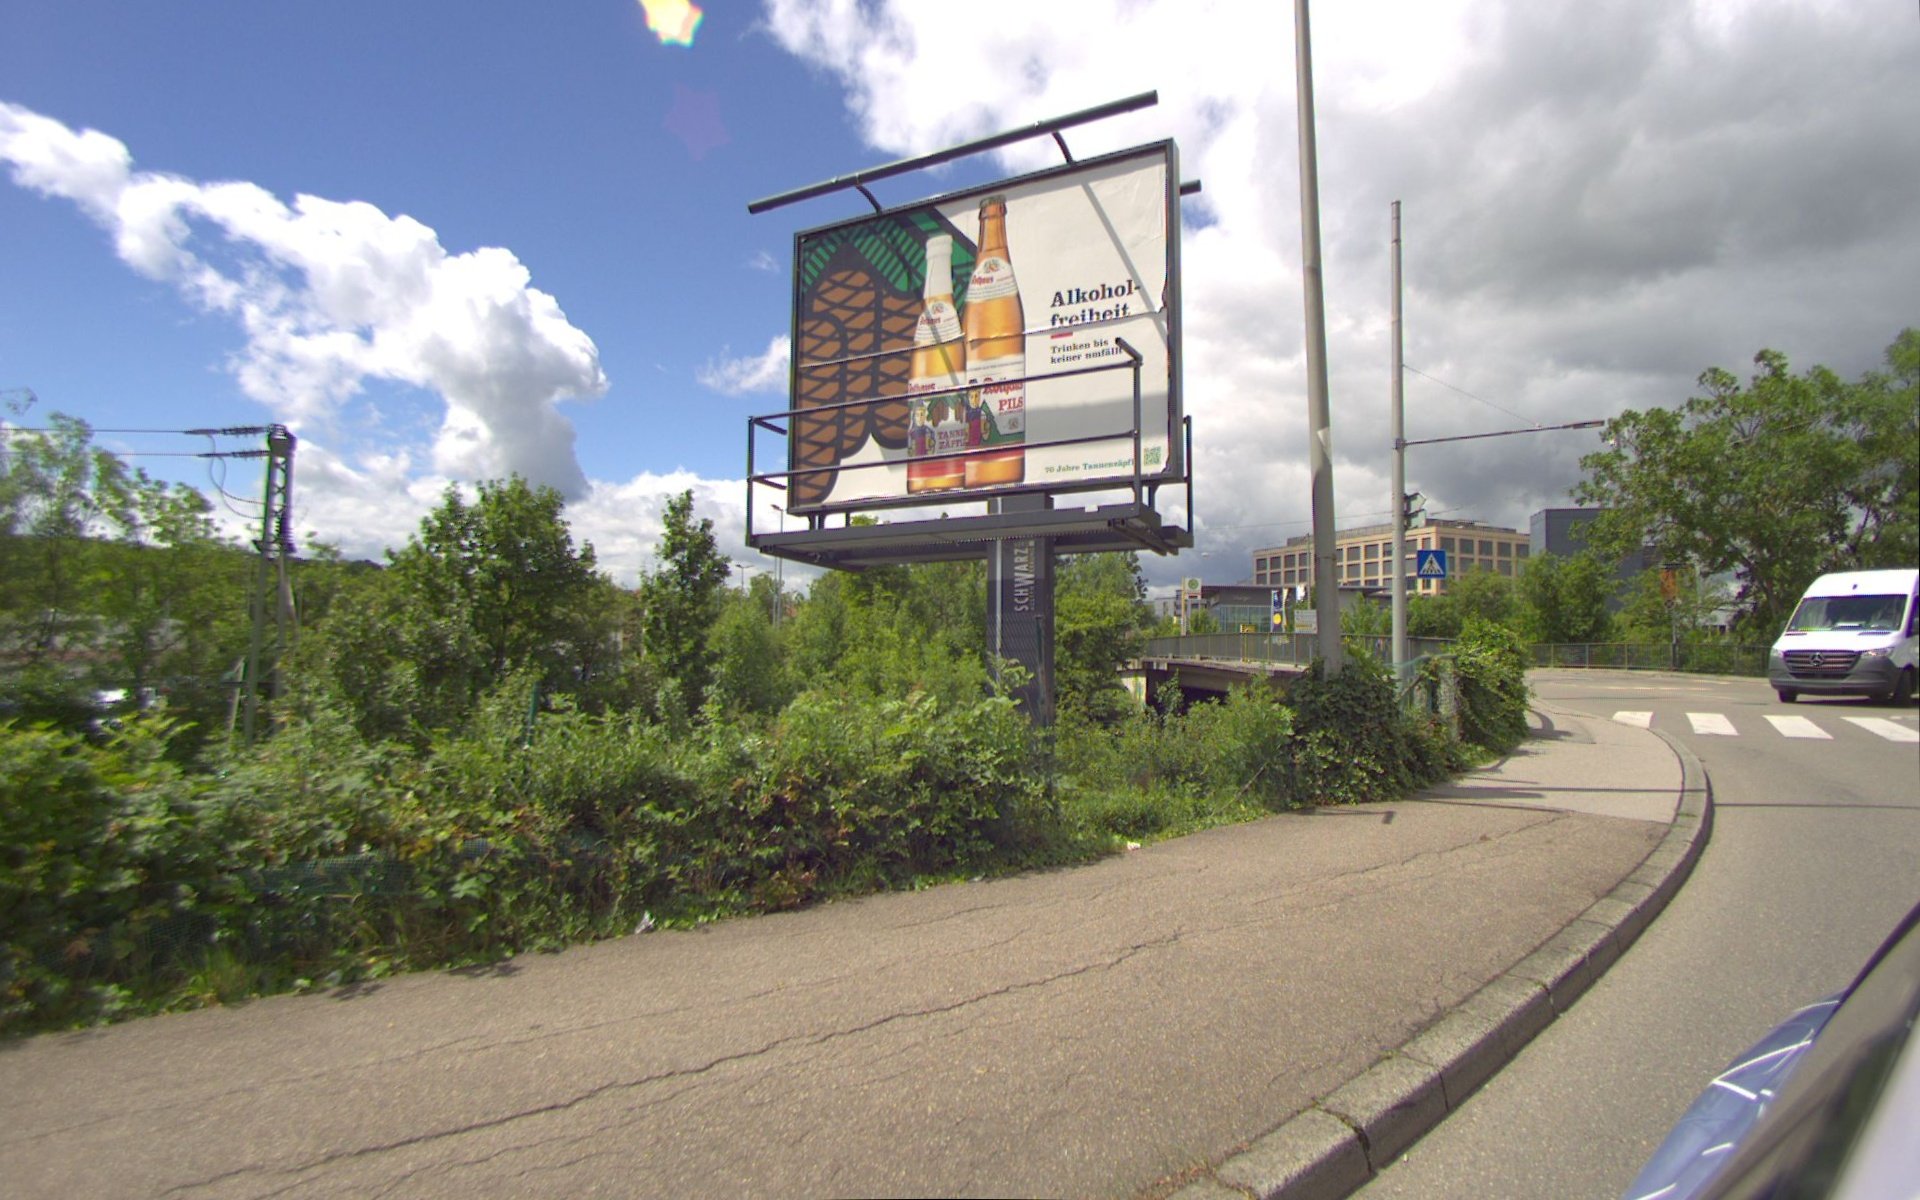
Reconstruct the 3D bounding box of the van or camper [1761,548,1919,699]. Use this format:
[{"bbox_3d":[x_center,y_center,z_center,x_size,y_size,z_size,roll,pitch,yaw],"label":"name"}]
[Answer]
[{"bbox_3d":[18.409,0.506,19.738,5.807,2.600,2.197,2,-1,-28],"label":"van or camper"}]
